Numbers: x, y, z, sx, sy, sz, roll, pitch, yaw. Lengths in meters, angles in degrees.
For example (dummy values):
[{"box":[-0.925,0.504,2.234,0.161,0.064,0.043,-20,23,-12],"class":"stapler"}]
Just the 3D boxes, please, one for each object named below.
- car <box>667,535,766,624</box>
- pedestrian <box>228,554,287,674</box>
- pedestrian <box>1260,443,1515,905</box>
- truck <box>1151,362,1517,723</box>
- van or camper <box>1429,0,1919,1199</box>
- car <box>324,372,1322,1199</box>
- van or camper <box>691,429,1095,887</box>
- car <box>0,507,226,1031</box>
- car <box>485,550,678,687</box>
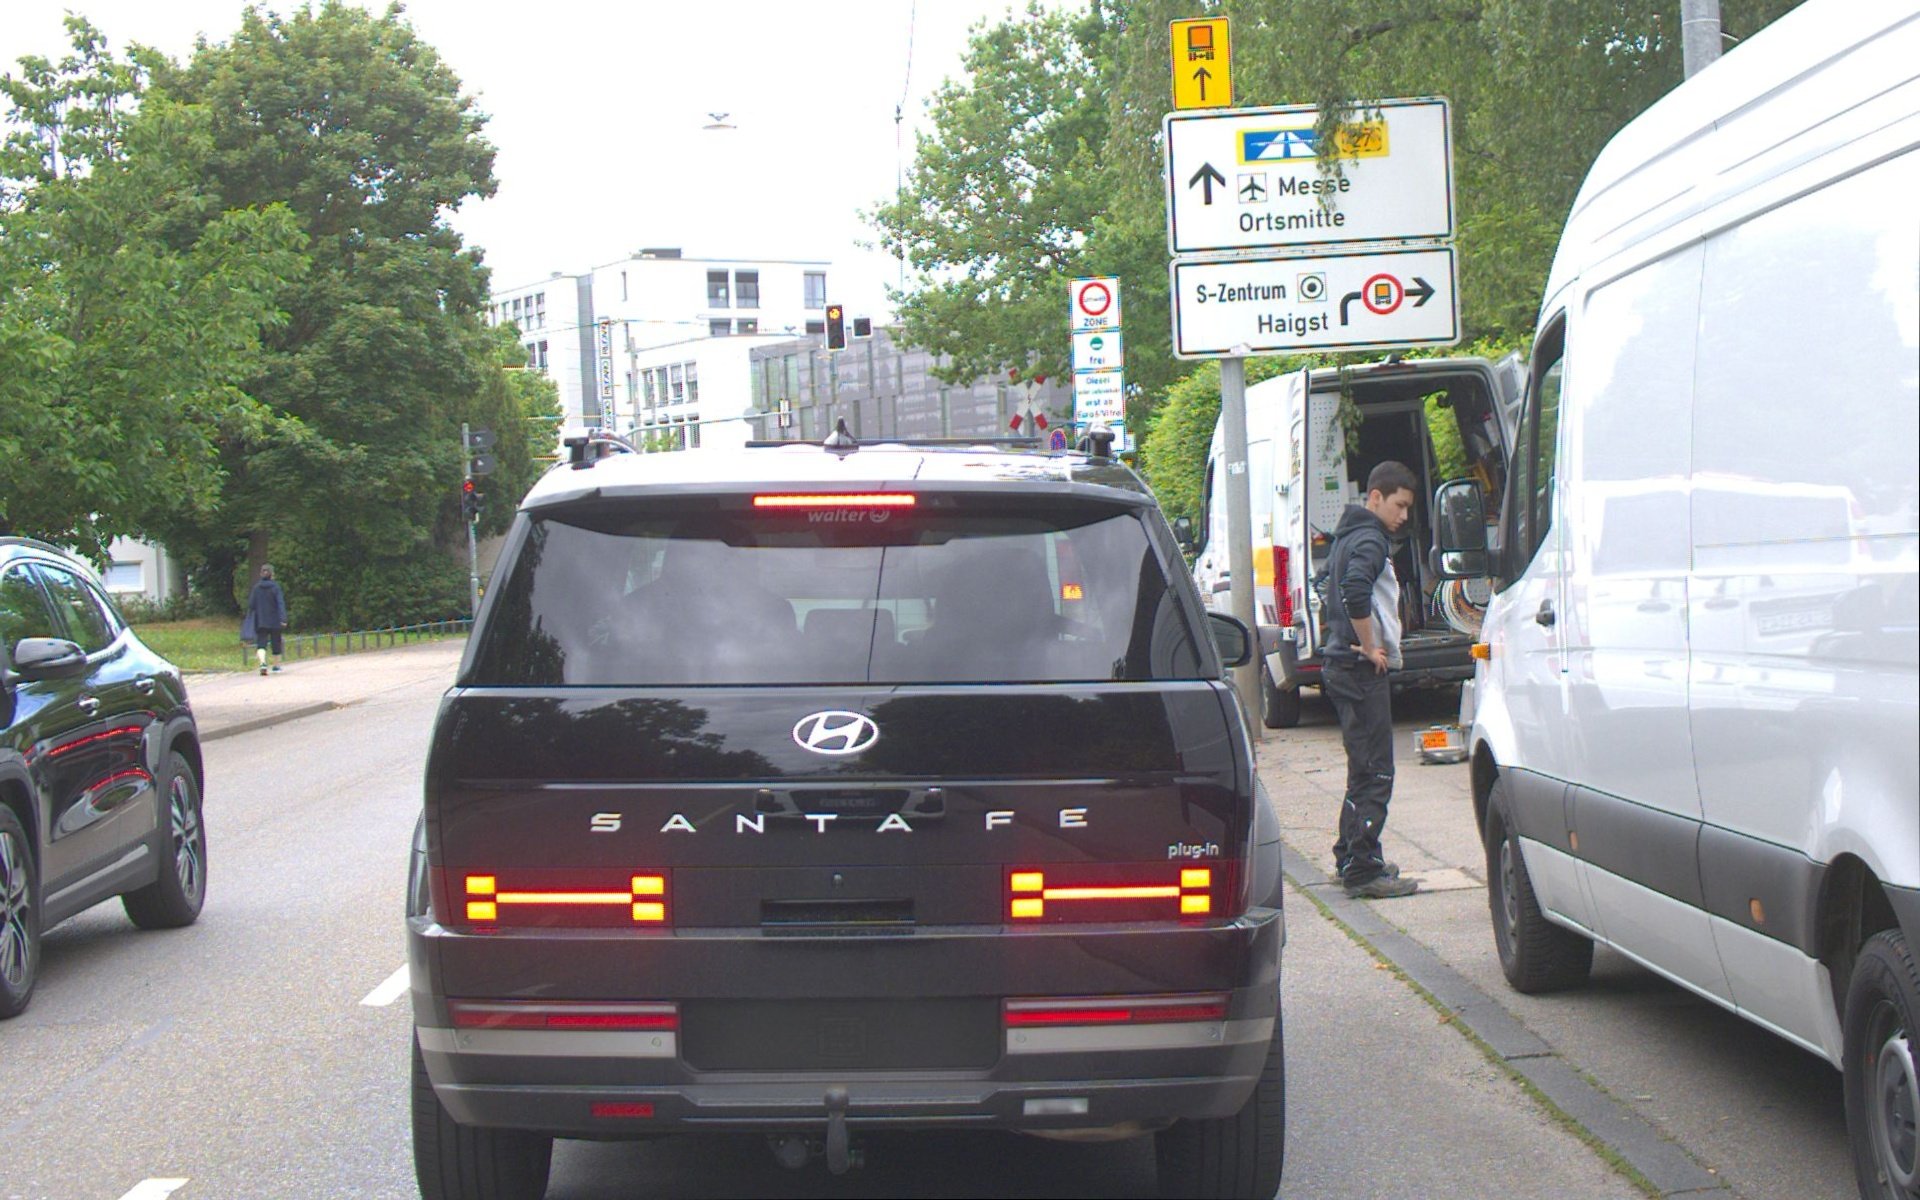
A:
[{"box":[-4.853,-0.423,68.913,1.785,1.648,4.121,-3,1,-2],"class":"car"},{"box":[-10.218,0.201,50.025,0.738,1.709,0.793,-2,1,-7],"class":"pedestrian"},{"box":[1.718,0.285,13.933,0.870,1.791,0.760,-2,1,-1],"class":"pedestrian"},{"box":[2.911,-0.448,28.014,1.942,2.553,5.217,-4,1,-4],"class":"truck"},{"box":[2.627,-0.080,8.134,1.993,2.611,6.541,-2,1,-1],"class":"van or camper"},{"box":[-0.281,0.445,8.547,1.889,1.813,4.000,0,1,-1],"class":"car"},{"box":[-0.323,0.228,17.490,1.754,2.007,4.000,-2,1,-1],"class":"van or camper"},{"box":[-4.016,0.575,12.118,1.859,1.651,4.306,-4,1,-1],"class":"car"},{"box":[-4.592,0.188,42.251,1.859,1.448,4.111,-4,1,-1],"class":"car"}]
